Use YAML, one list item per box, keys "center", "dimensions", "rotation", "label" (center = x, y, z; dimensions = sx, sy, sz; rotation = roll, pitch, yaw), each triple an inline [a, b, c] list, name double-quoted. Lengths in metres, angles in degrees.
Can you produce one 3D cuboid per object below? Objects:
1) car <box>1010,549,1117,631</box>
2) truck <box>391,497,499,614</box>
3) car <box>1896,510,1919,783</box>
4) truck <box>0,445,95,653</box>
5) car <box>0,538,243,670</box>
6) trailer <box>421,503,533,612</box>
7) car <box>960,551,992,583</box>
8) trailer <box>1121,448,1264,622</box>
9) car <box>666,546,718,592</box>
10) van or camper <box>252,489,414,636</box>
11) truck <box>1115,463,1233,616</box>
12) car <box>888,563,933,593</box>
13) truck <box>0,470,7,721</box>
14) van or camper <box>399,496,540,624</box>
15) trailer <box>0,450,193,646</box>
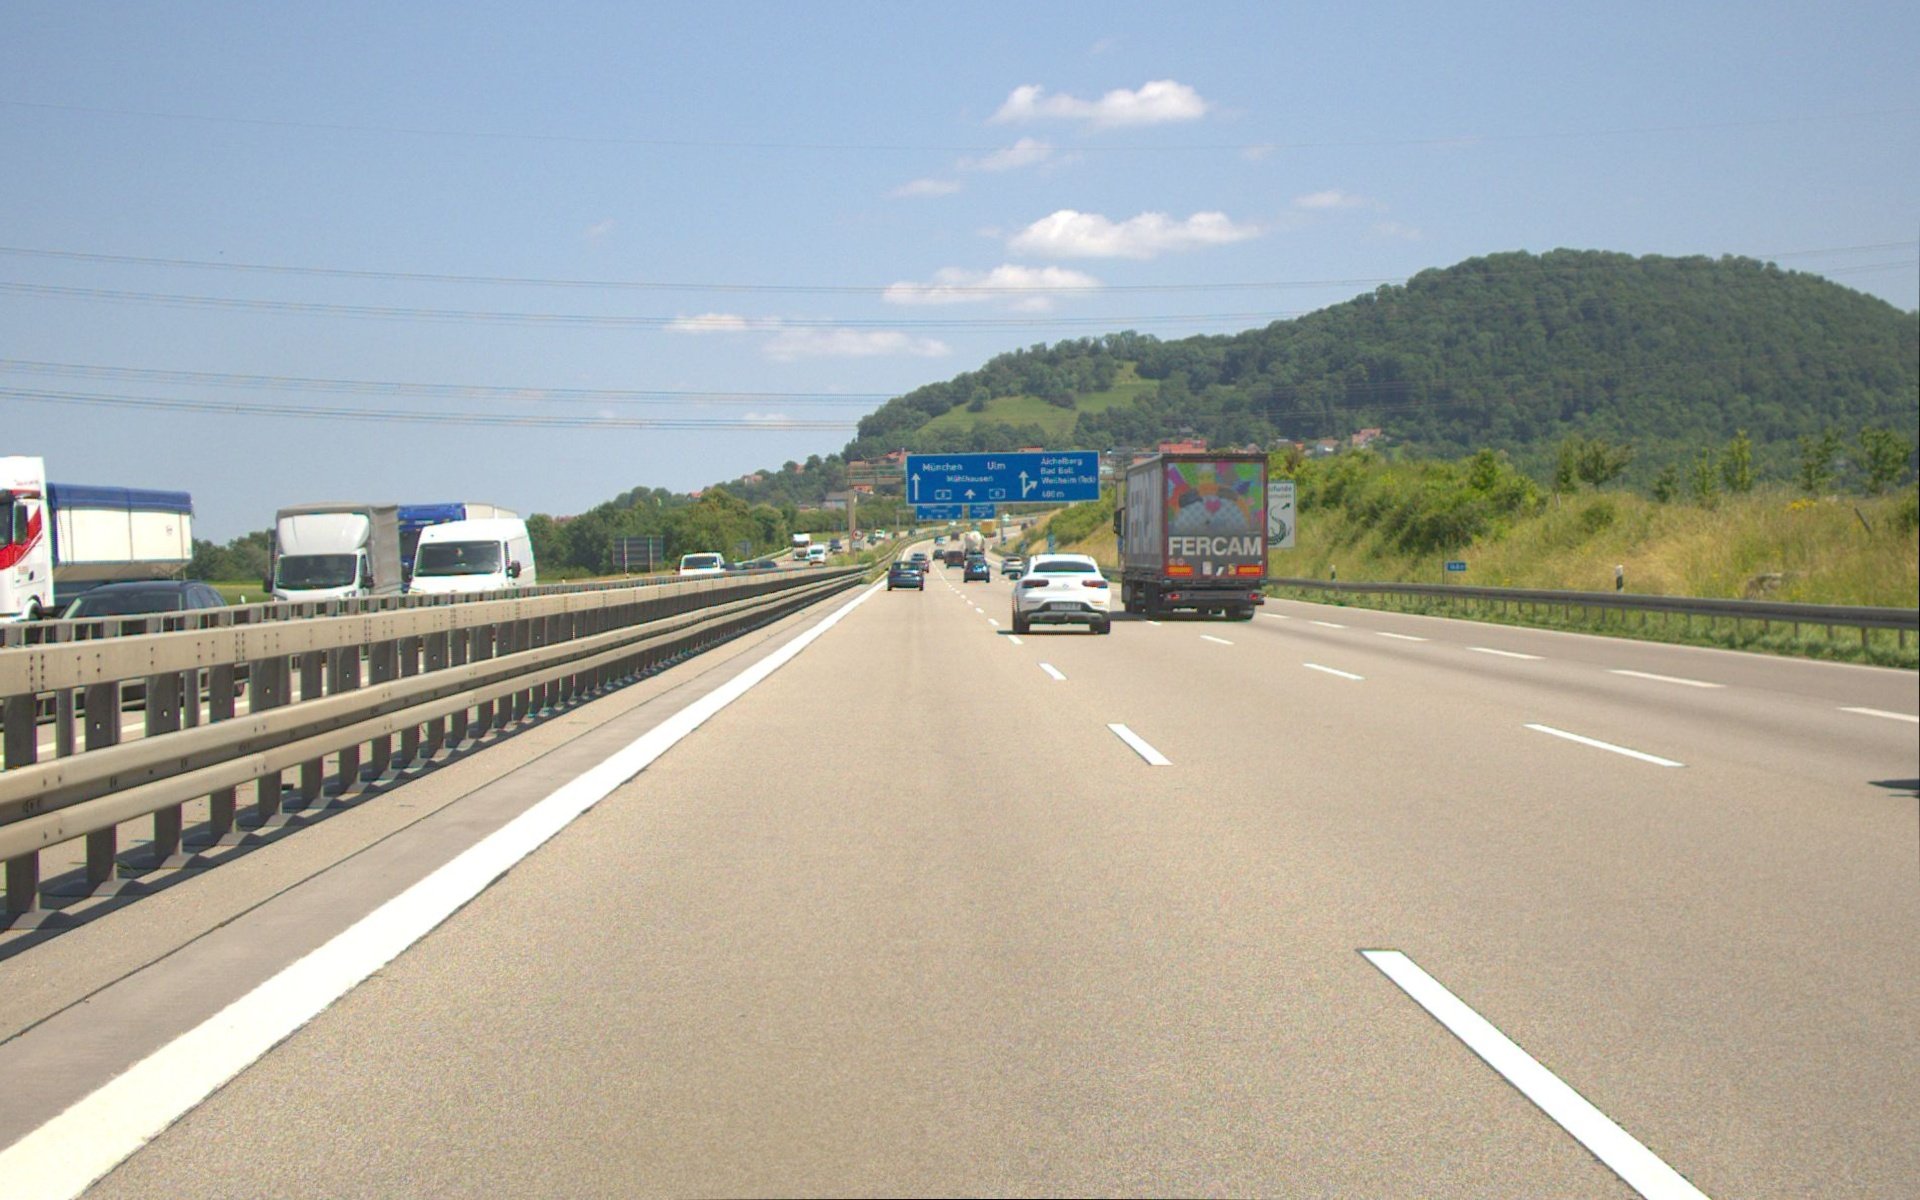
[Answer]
- center: [2.073, -0.209, 70.127]
  dimensions: [1.914, 1.575, 5.231]
  rotation: [1, 0, -1]
  label: "car"
- center: [-18.477, -1.567, 123.696]
  dimensions: [2.820, 4.076, 7.532]
  rotation: [1, 0, -1]
  label: "truck"
- center: [7.375, 0.355, 20.999]
  dimensions: [2.034, 1.798, 4.251]
  rotation: [1, 1, -2]
  label: "car"
- center: [-18.153, -0.938, 63.928]
  dimensions: [2.717, 3.678, 6.057]
  rotation: [1, 0, -1]
  label: "truck"
- center: [-9.728, 0.031, 40.017]
  dimensions: [1.767, 1.416, 4.934]
  rotation: [1, 0, -1]
  label: "car"
- center: [-18.638, -1.600, 133.314]
  dimensions: [2.832, 4.032, 11.666]
  rotation: [1, 0, -1]
  label: "trailer"
- center: [1.002, -2.102, 217.854]
  dimensions: [1.993, 2.007, 4.000]
  rotation: [1, 0, 0]
  label: "car"
- center: [5.826, -1.585, 88.004]
  dimensions: [2.725, 4.141, 11.808]
  rotation: [1, 0, 0]
  label: "trailer"
- center: [-12.118, -1.411, 155.516]
  dimensions: [1.984, 2.003, 4.649]
  rotation: [-3, 1, -1]
  label: "car"
- center: [-14.265, -0.860, 78.731]
  dimensions: [2.340, 3.154, 7.402]
  rotation: [-2, 1, -1]
  label: "van or camper"
- center: [5.802, -1.603, 94.058]
  dimensions: [2.752, 4.007, 6.788]
  rotation: [1, 0, 0]
  label: "truck"
- center: [-2.291, -1.024, 160.153]
  dimensions: [1.993, 1.384, 4.000]
  rotation: [1, 0, 0]
  label: "car"
- center: [-12.574, -0.042, 37.639]
  dimensions: [2.249, 2.999, 7.428]
  rotation: [1, 0, -1]
  label: "truck"
- center: [-10.252, -0.818, 72.268]
  dimensions: [2.123, 2.566, 6.122]
  rotation: [1, 0, -1]
  label: "van or camper"
- center: [-18.267, -1.014, 70.500]
  dimensions: [2.707, 3.680, 11.360]
  rotation: [1, 0, -1]
  label: "trailer"
